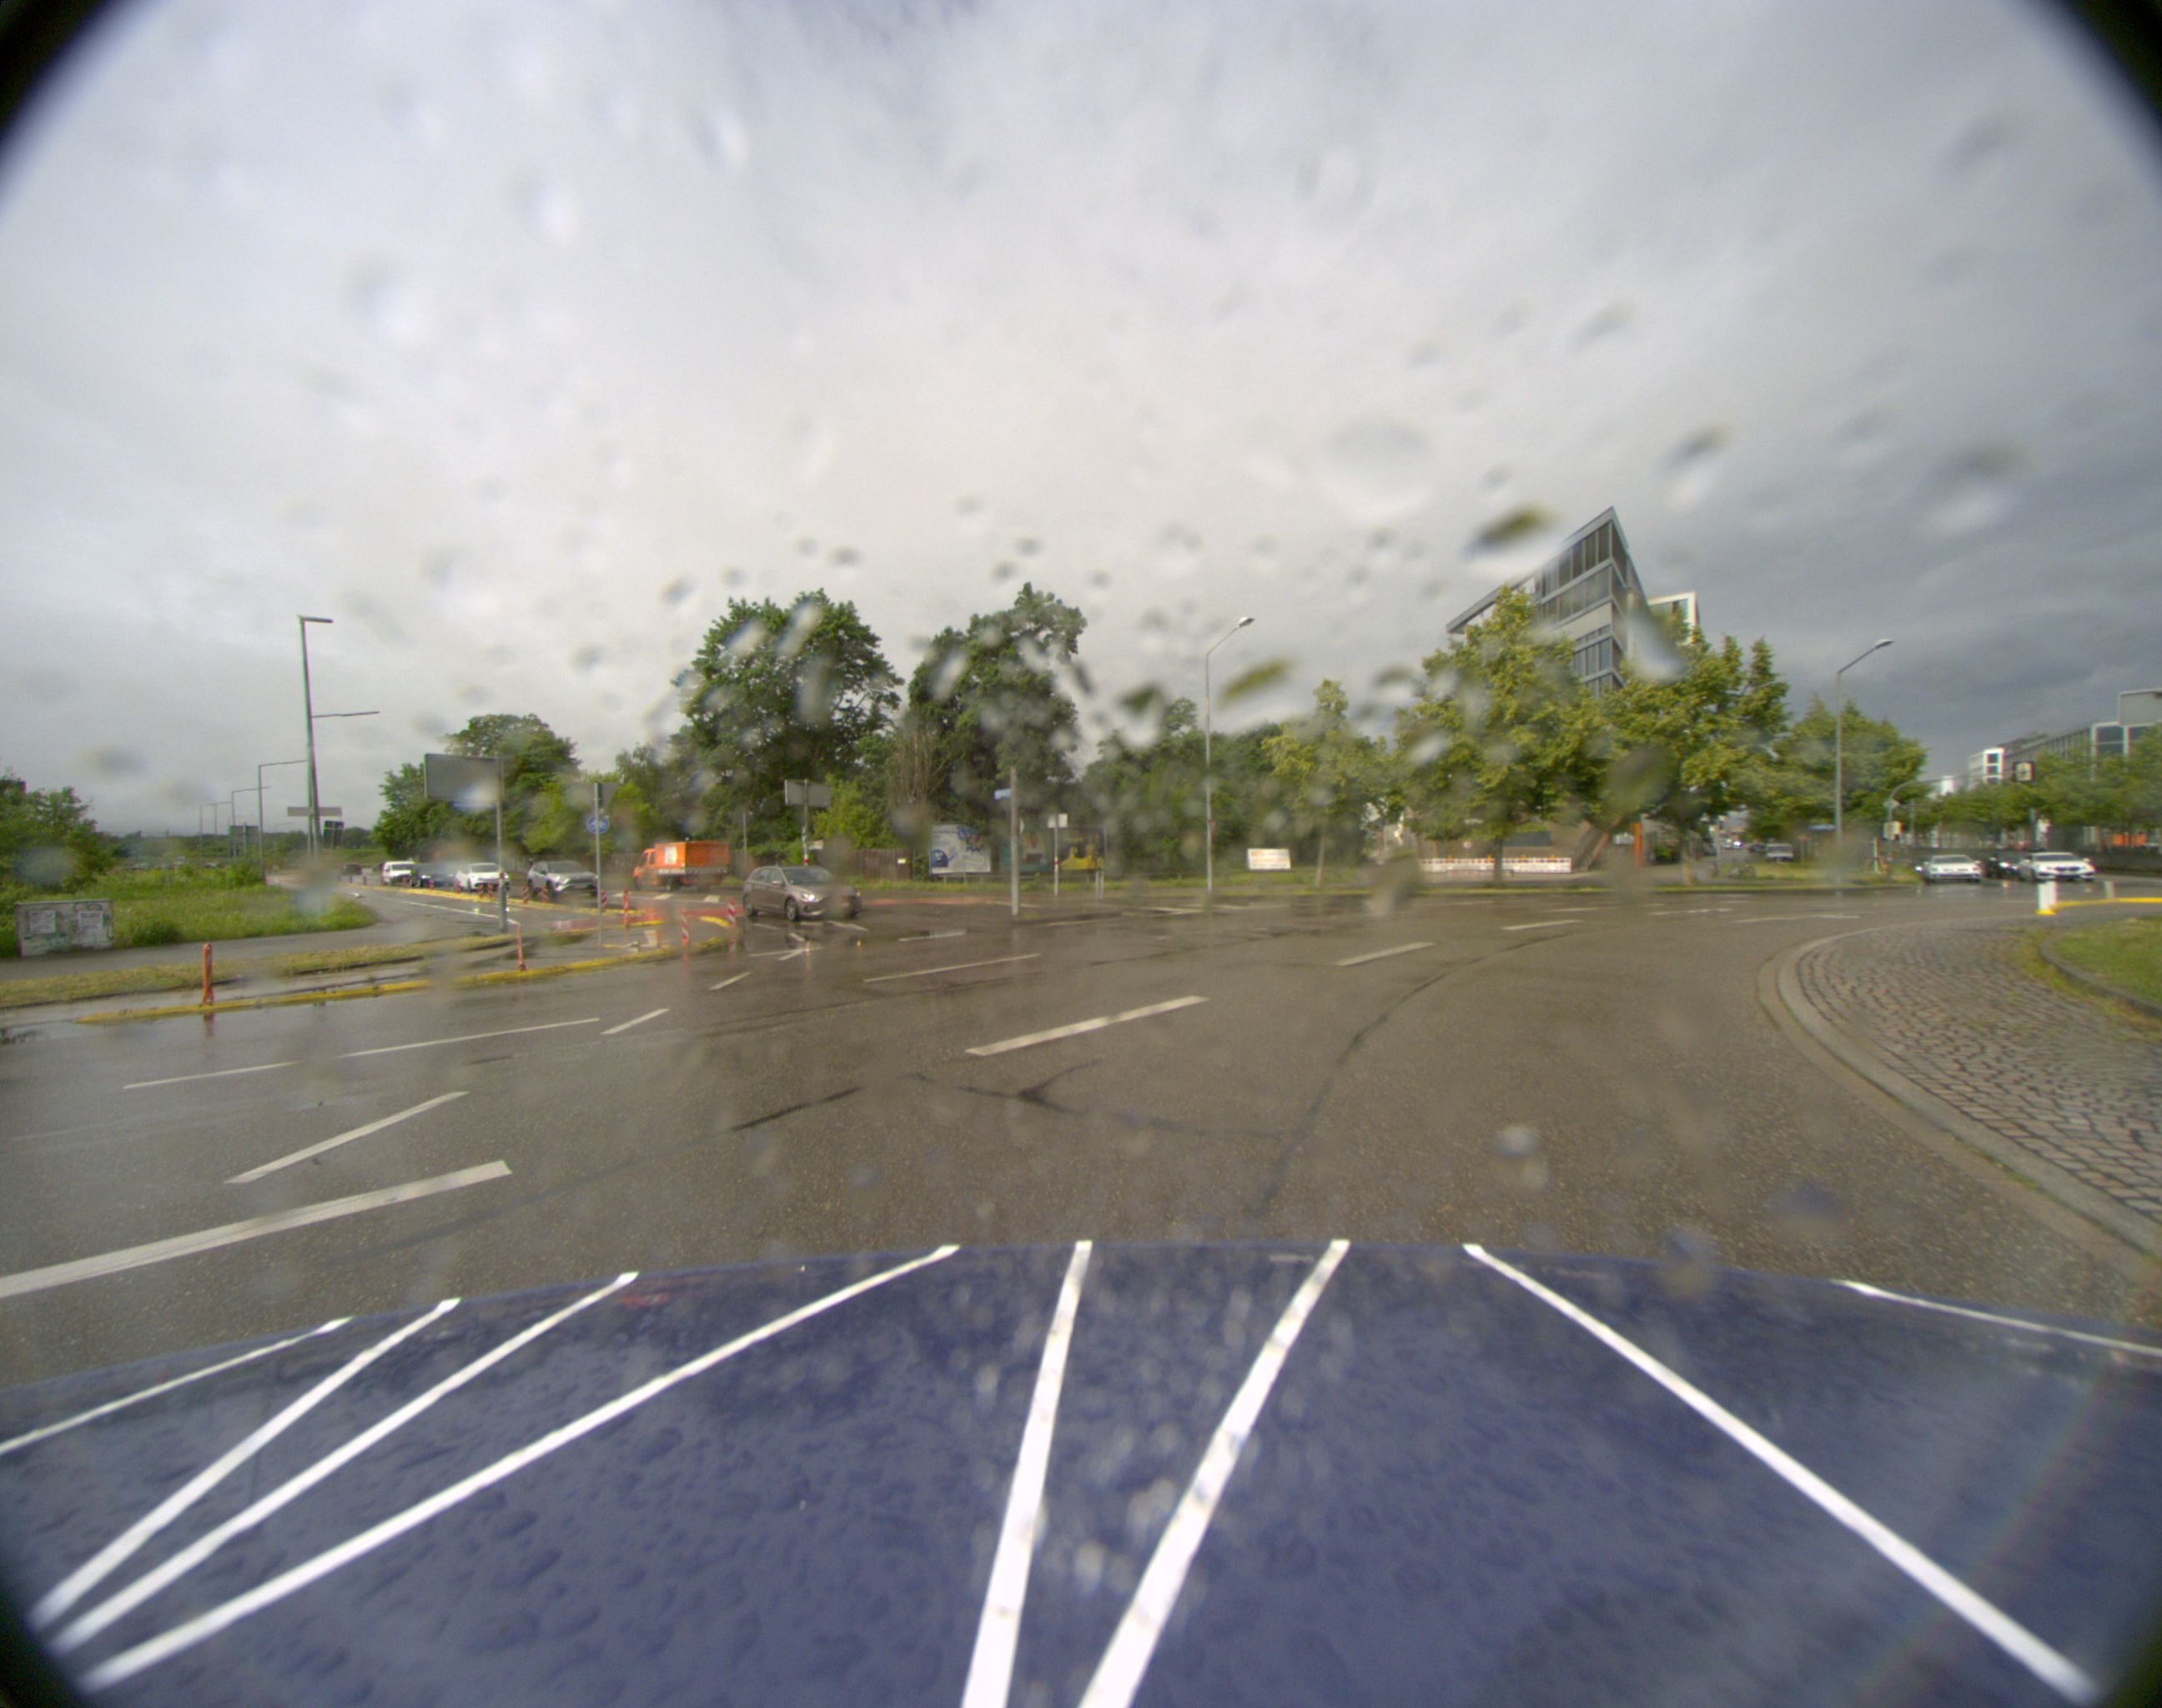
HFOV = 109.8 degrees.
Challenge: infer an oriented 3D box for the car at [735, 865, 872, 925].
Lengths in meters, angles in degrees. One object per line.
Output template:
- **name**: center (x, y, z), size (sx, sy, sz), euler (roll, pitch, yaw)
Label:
- **car**: center (-7.660, 1.067, 20.787), size (4.116, 1.405, 1.739), euler (-2, 1, 42)

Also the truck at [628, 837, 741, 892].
- **truck**: center (-20.994, 0.549, 40.101), size (6.926, 2.710, 2.467), euler (-1, 0, 37)

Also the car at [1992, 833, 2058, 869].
- **car**: center (54.720, -0.181, 44.127), size (4.008, 2.002, 1.994), euler (-1, 1, -45)

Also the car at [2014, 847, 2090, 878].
- **car**: center (48.553, 0.396, 38.069), size (1.722, 1.499, 3.912), euler (-1, 0, 43)

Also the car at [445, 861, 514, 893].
- **car**: center (-33.722, 1.264, 42.587), size (4.470, 1.654, 1.879), euler (-1, 2, 37)

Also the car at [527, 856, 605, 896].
- **car**: center (-23.651, 0.959, 34.821), size (4.470, 1.654, 1.879), euler (-1, 1, 42)

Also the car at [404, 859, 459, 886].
- **car**: center (-44.295, 1.248, 51.787), size (4.470, 1.654, 1.879), euler (-1, 3, 37)

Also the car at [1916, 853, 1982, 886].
- **car**: center (46.664, 0.838, 40.915), size (1.861, 1.662, 4.481), euler (-1, -1, 43)

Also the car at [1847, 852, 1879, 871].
- **car**: center (74.674, 0.709, 72.586), size (1.861, 1.734, 4.095), euler (-1, -1, 43)

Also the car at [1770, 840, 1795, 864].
- **car**: center (72.866, -0.170, 78.927), size (1.861, 2.345, 4.481), euler (-1, -1, 43)

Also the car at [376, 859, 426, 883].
- **car**: center (-51.646, 1.267, 57.703), size (4.470, 1.654, 1.879), euler (-1, 3, 37)
